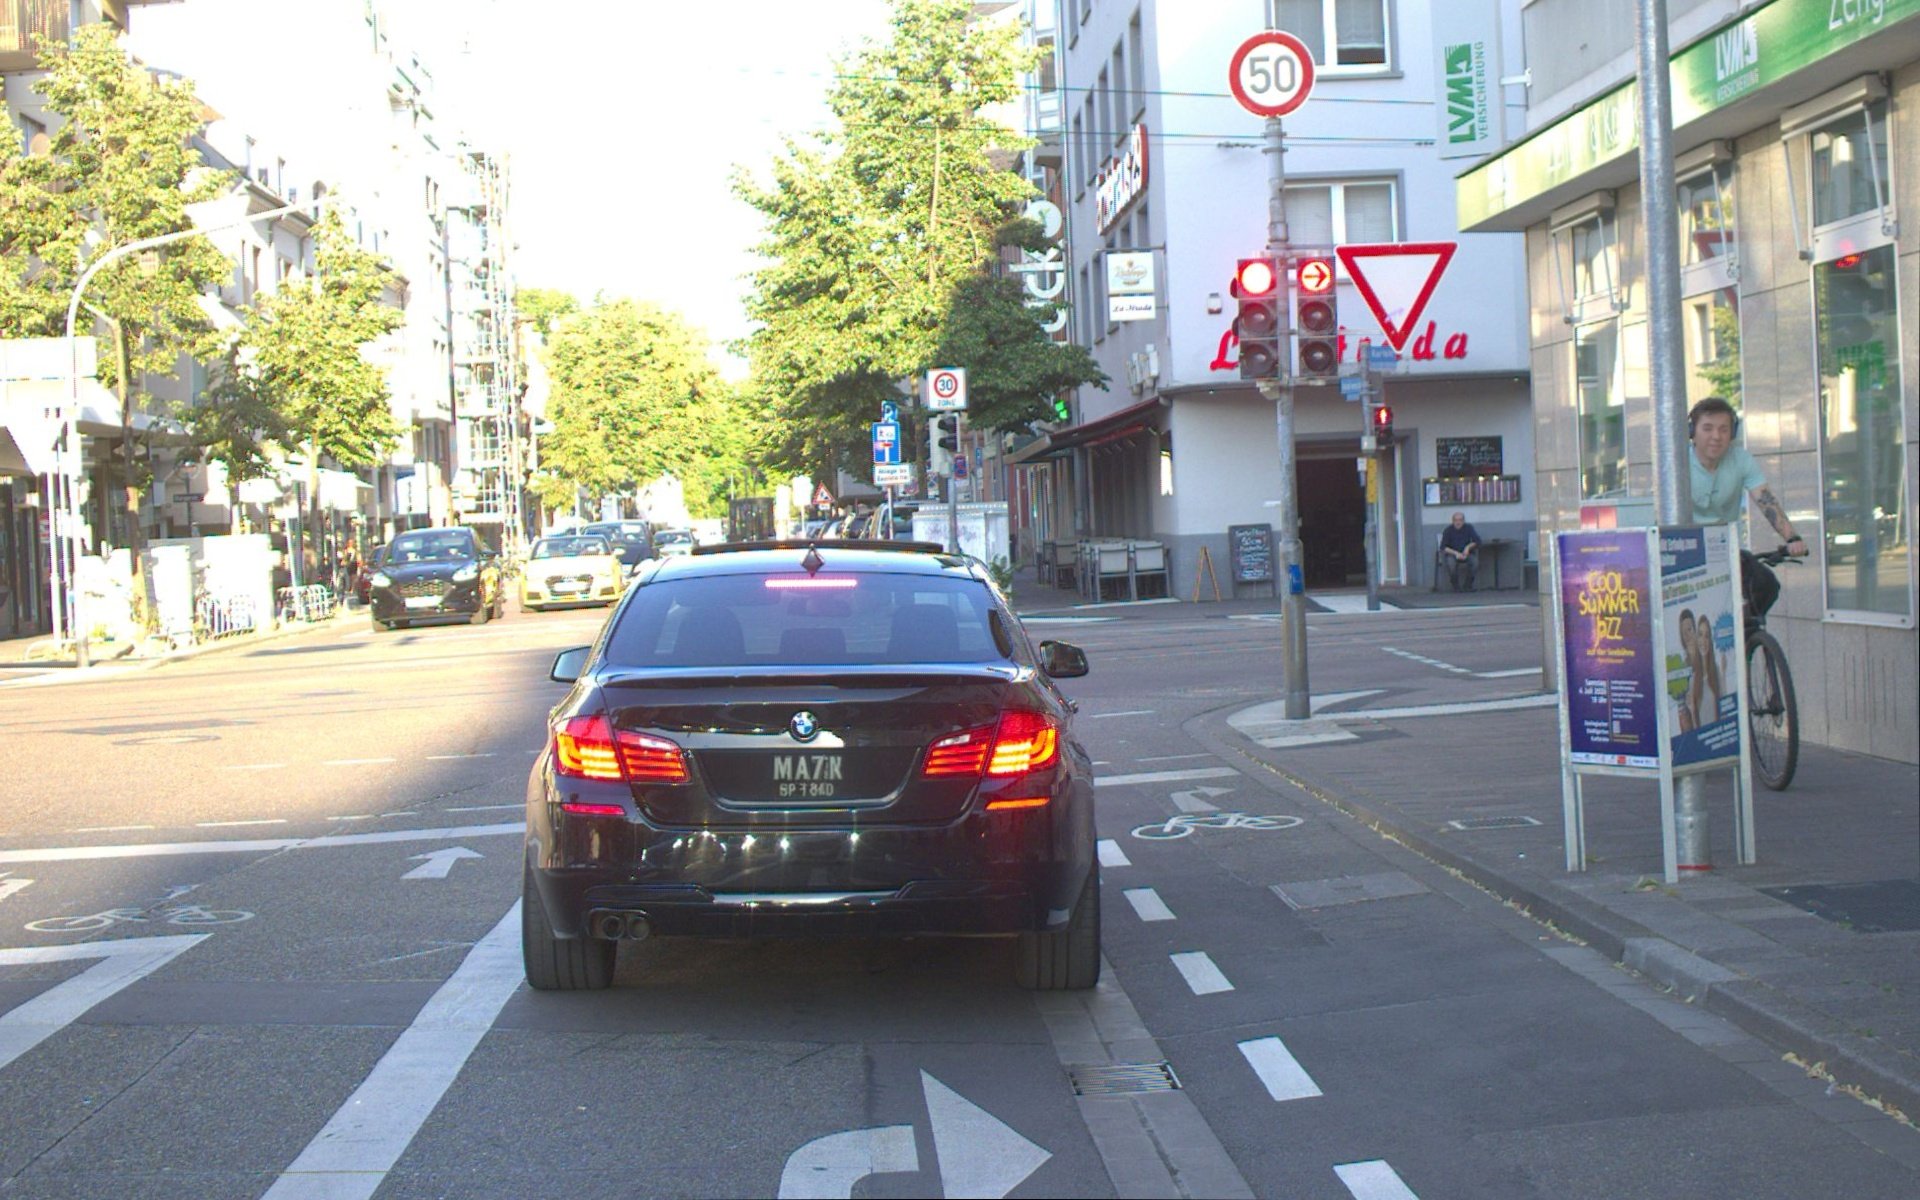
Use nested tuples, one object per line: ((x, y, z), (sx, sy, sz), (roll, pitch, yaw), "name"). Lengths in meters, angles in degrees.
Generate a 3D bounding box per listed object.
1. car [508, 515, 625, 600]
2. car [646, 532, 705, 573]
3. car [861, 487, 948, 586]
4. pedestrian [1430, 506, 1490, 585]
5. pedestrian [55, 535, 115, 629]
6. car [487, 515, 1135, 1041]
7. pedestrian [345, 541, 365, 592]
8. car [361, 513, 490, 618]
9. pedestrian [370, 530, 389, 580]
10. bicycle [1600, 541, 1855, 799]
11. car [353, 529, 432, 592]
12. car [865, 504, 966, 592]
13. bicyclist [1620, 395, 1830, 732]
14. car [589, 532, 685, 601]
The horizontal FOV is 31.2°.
((-7.242, -0.799, 63.019), (1.993, 1.437, 4.001), (-2, 1, -8), "car")
((-9.682, -1.636, 116.647), (1.733, 1.288, 4.001), (-2, 1, -8), "car")
((-1.085, -1.218, 66.368), (1.421, 1.848, 3.053), (-1, 1, -5), "car")
((7.518, -0.826, 51.711), (0.697, 1.153, 0.844), (-2, 1, -4), "pedestrian")
((-15.959, -0.328, 62.694), (0.823, 1.670, 0.871), (-2, 1, -3), "pedestrian")
((-0.564, 0.481, 12.477), (1.903, 1.535, 4.450), (1, 1, -3), "car")
((-17.146, -0.956, 97.406), (0.444, 1.411, 0.525), (-3, 1, -4), "pedestrian")
((-8.901, -0.596, 57.554), (1.993, 1.612, 4.001), (-2, 1, -8), "car")
((-16.641, -1.298, 98.550), (0.444, 1.411, 0.525), (-2, 1, -4), "pedestrian")
((3.569, 0.294, 16.132), (0.690, 1.103, 1.896), (-2, 1, -1), "bicycle")
((-13.895, -0.990, 84.335), (1.733, 1.456, 4.001), (-2, 1, -8), "car")
((-0.802, -0.905, 59.896), (1.625, 1.466, 3.395), (-1, 1, -3), "car")
((3.563, -0.175, 16.067), (0.722, 1.502, 0.900), (-2, 1, -1), "bicyclist")
((-6.582, -0.702, 69.801), (1.733, 1.288, 4.001), (-2, 1, -8), "car")
